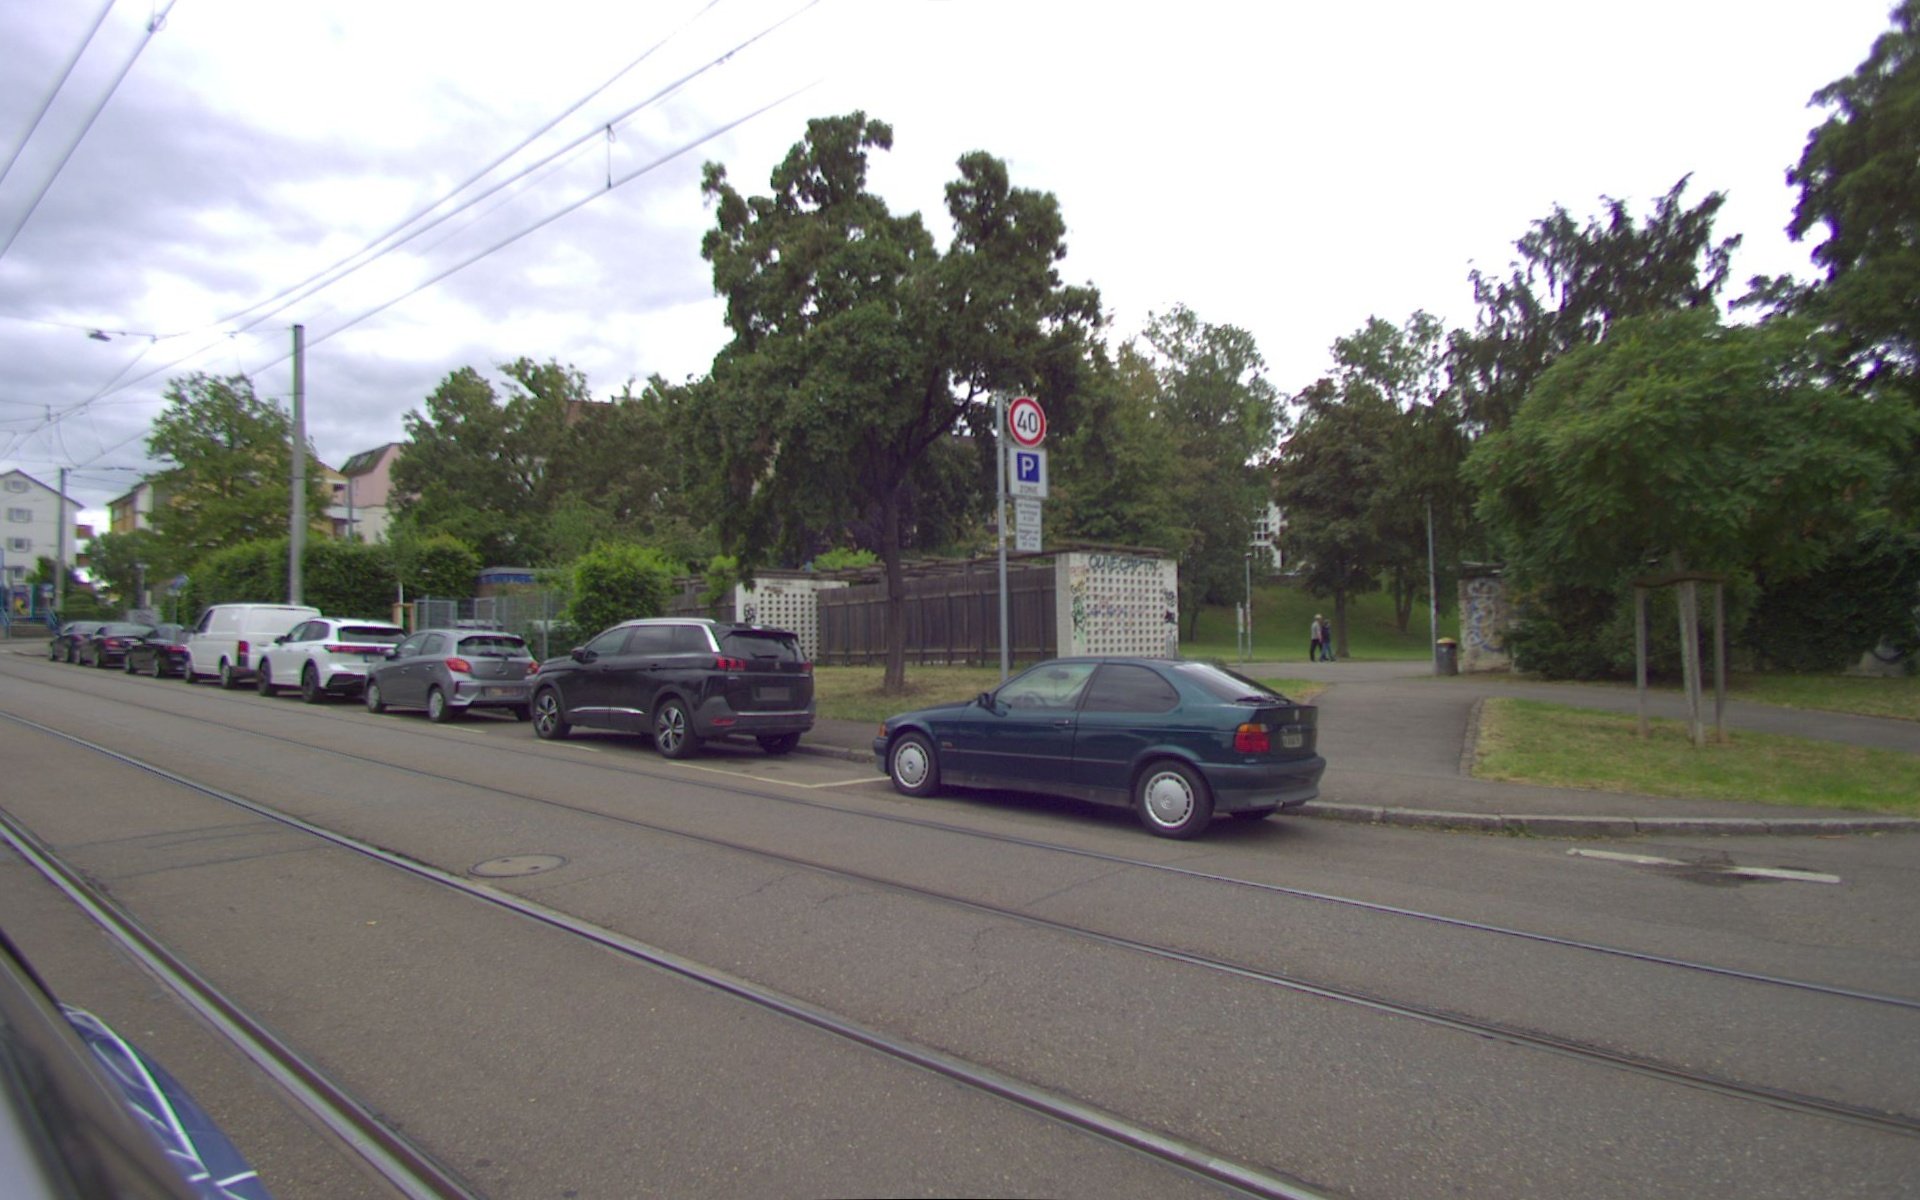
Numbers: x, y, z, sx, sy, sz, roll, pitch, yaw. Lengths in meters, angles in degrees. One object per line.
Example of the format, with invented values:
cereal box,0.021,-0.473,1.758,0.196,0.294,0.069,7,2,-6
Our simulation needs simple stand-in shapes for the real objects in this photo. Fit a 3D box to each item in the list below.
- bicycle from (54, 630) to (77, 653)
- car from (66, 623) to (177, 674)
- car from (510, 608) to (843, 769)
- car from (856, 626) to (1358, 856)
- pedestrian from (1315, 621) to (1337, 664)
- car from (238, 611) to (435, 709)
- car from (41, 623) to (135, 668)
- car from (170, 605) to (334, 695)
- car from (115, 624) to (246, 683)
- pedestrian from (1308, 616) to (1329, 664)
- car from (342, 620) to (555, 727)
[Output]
bicycle,-47.868,2.217,54.144,1.487,1.190,0.704,0,-2,40
car,-26.486,1.484,31.912,4.435,1.397,1.822,1,-2,39
car,-3.803,1.007,13.211,4.439,1.699,1.949,0,-2,39
car,1.141,1.040,8.961,4.151,1.488,1.605,1,-2,39
pedestrian,13.044,1.501,36.056,0.585,1.496,0.490,-1,-2,41
car,-12.746,1.142,20.584,4.628,1.699,1.949,1,-2,39
car,-30.797,1.564,35.713,4.157,1.415,1.772,1,-2,39
car,-17.136,1.141,24.412,4.729,1.927,1.949,0,-2,39
car,-21.498,1.425,27.851,4.513,1.397,1.822,1,-2,39
pedestrian,13.039,1.441,36.791,0.585,1.738,0.490,-1,-2,41
car,-8.661,1.156,17.038,3.865,1.520,1.721,0,-2,39
